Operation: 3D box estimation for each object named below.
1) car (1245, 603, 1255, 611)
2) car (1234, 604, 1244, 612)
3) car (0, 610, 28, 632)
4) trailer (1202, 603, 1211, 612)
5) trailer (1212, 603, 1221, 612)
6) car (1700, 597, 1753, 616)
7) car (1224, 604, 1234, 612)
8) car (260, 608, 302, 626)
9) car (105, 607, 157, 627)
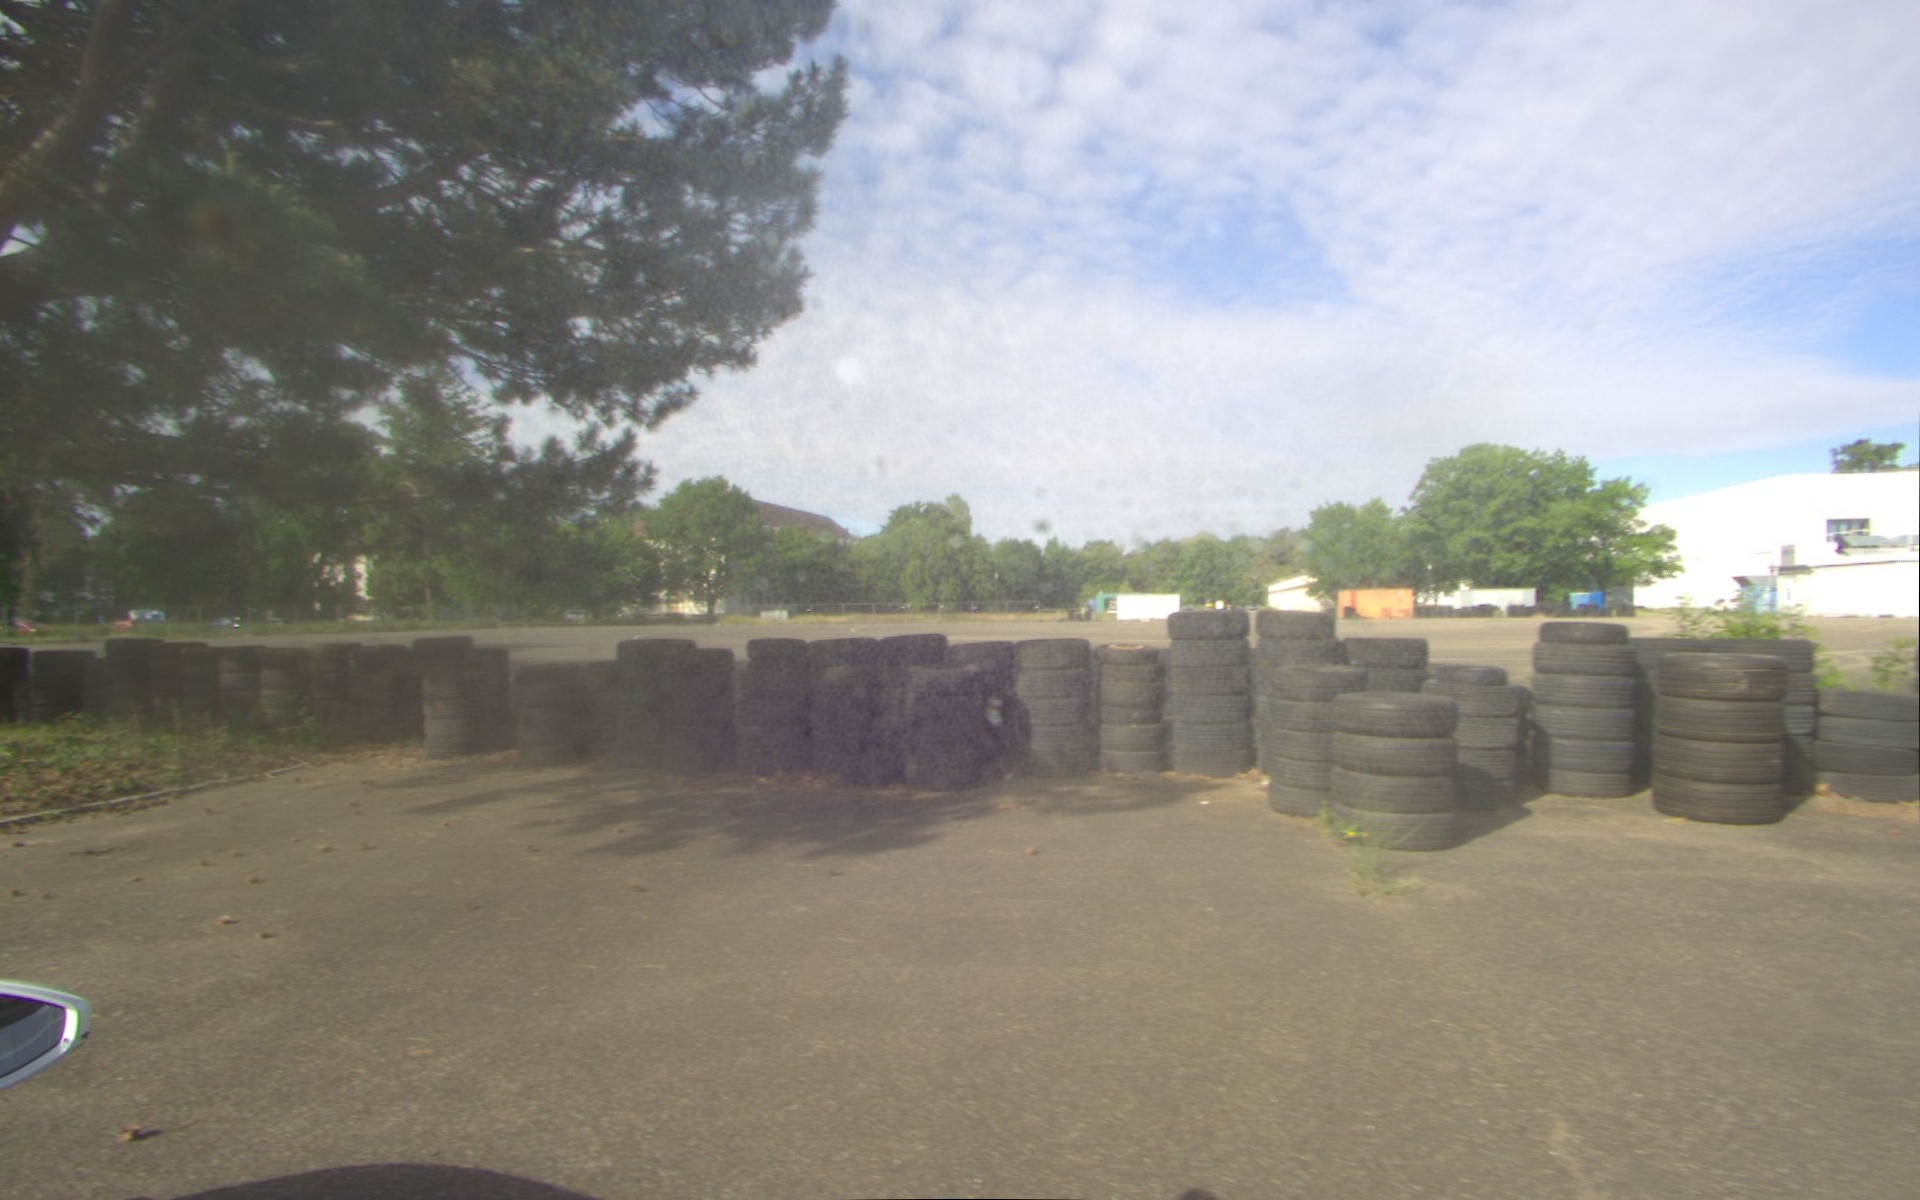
[{"bbox_3d":[68.711,1.705,237.500,1.962,1.773,3.998,0,0,11],"label":"car"},{"bbox_3d":[66.283,1.830,238.096,1.999,1.832,3.997,-1,0,11],"label":"car"},{"bbox_3d":[-79.141,1.700,82.404,3.930,1.773,1.996,-1,0,19],"label":"car"},{"bbox_3d":[59.649,1.773,242.598,1.962,2.040,3.997,0,0,12],"label":"trailer"},{"bbox_3d":[61.701,1.788,240.717,2.026,2.040,3.997,0,0,12],"label":"trailer"},{"bbox_3d":[67.168,0.542,87.835,1.840,1.585,4.544,-1,0,12],"label":"car"},{"bbox_3d":[64.070,1.885,238.448,1.962,1.773,3.998,0,0,11],"label":"car"},{"bbox_3d":[-72.582,1.815,107.044,3.934,1.773,1.994,-1,0,24],"label":"car"},{"bbox_3d":[-76.408,1.594,92.317,3.930,1.773,1.995,-1,0,20],"label":"car"}]
